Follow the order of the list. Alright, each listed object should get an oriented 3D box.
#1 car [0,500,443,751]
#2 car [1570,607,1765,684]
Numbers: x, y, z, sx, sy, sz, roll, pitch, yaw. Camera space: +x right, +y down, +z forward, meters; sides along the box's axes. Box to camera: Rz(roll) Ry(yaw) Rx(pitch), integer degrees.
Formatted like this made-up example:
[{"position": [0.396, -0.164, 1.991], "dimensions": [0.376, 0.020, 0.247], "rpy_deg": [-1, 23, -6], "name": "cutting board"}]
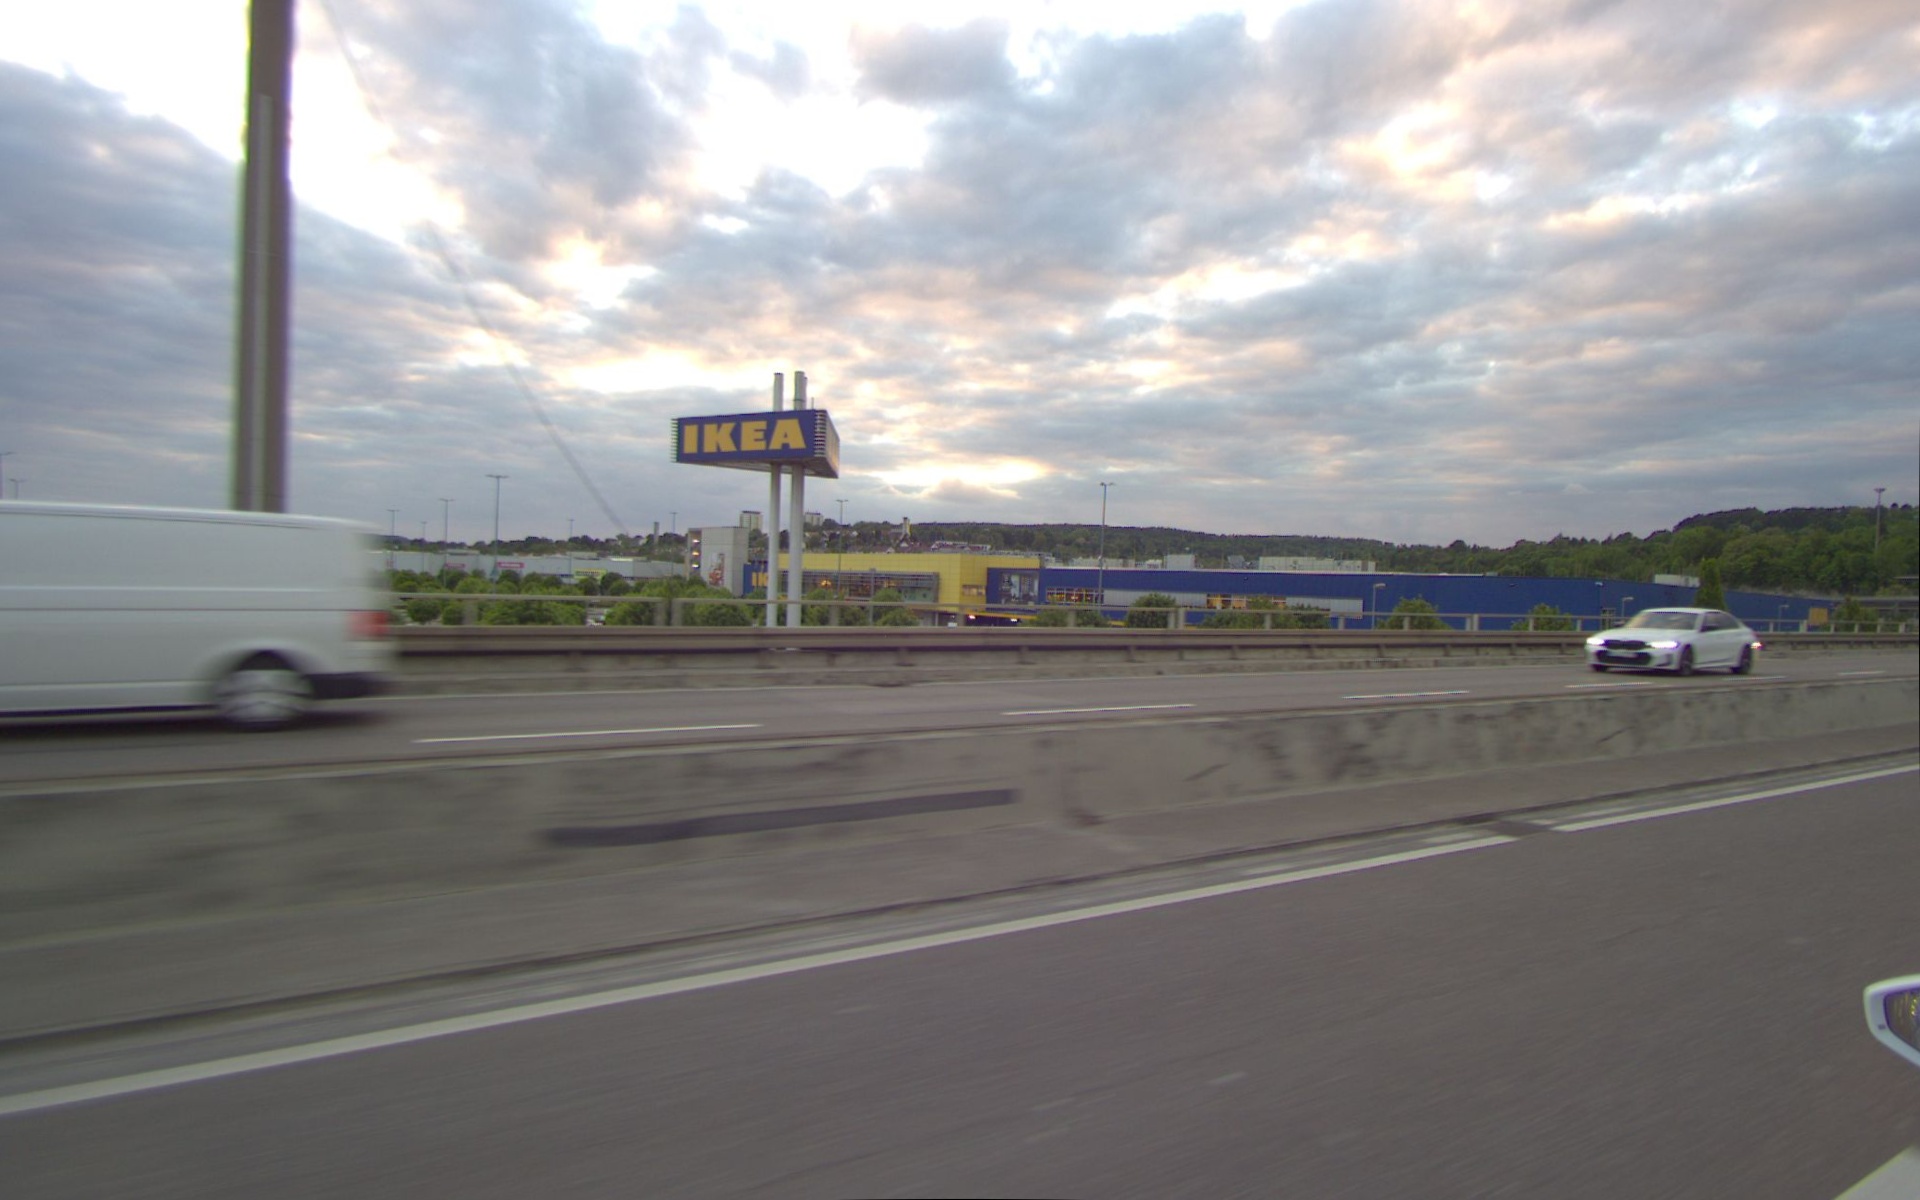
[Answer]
[{"position": [-7.576, 0.195, 8.702], "dimensions": [5.397, 1.926, 1.891], "rpy_deg": [1, 0, -31], "name": "car"}, {"position": [15.674, 0.970, 22.181], "dimensions": [4.762, 1.523, 1.821], "rpy_deg": [1, -1, -32], "name": "car"}]
